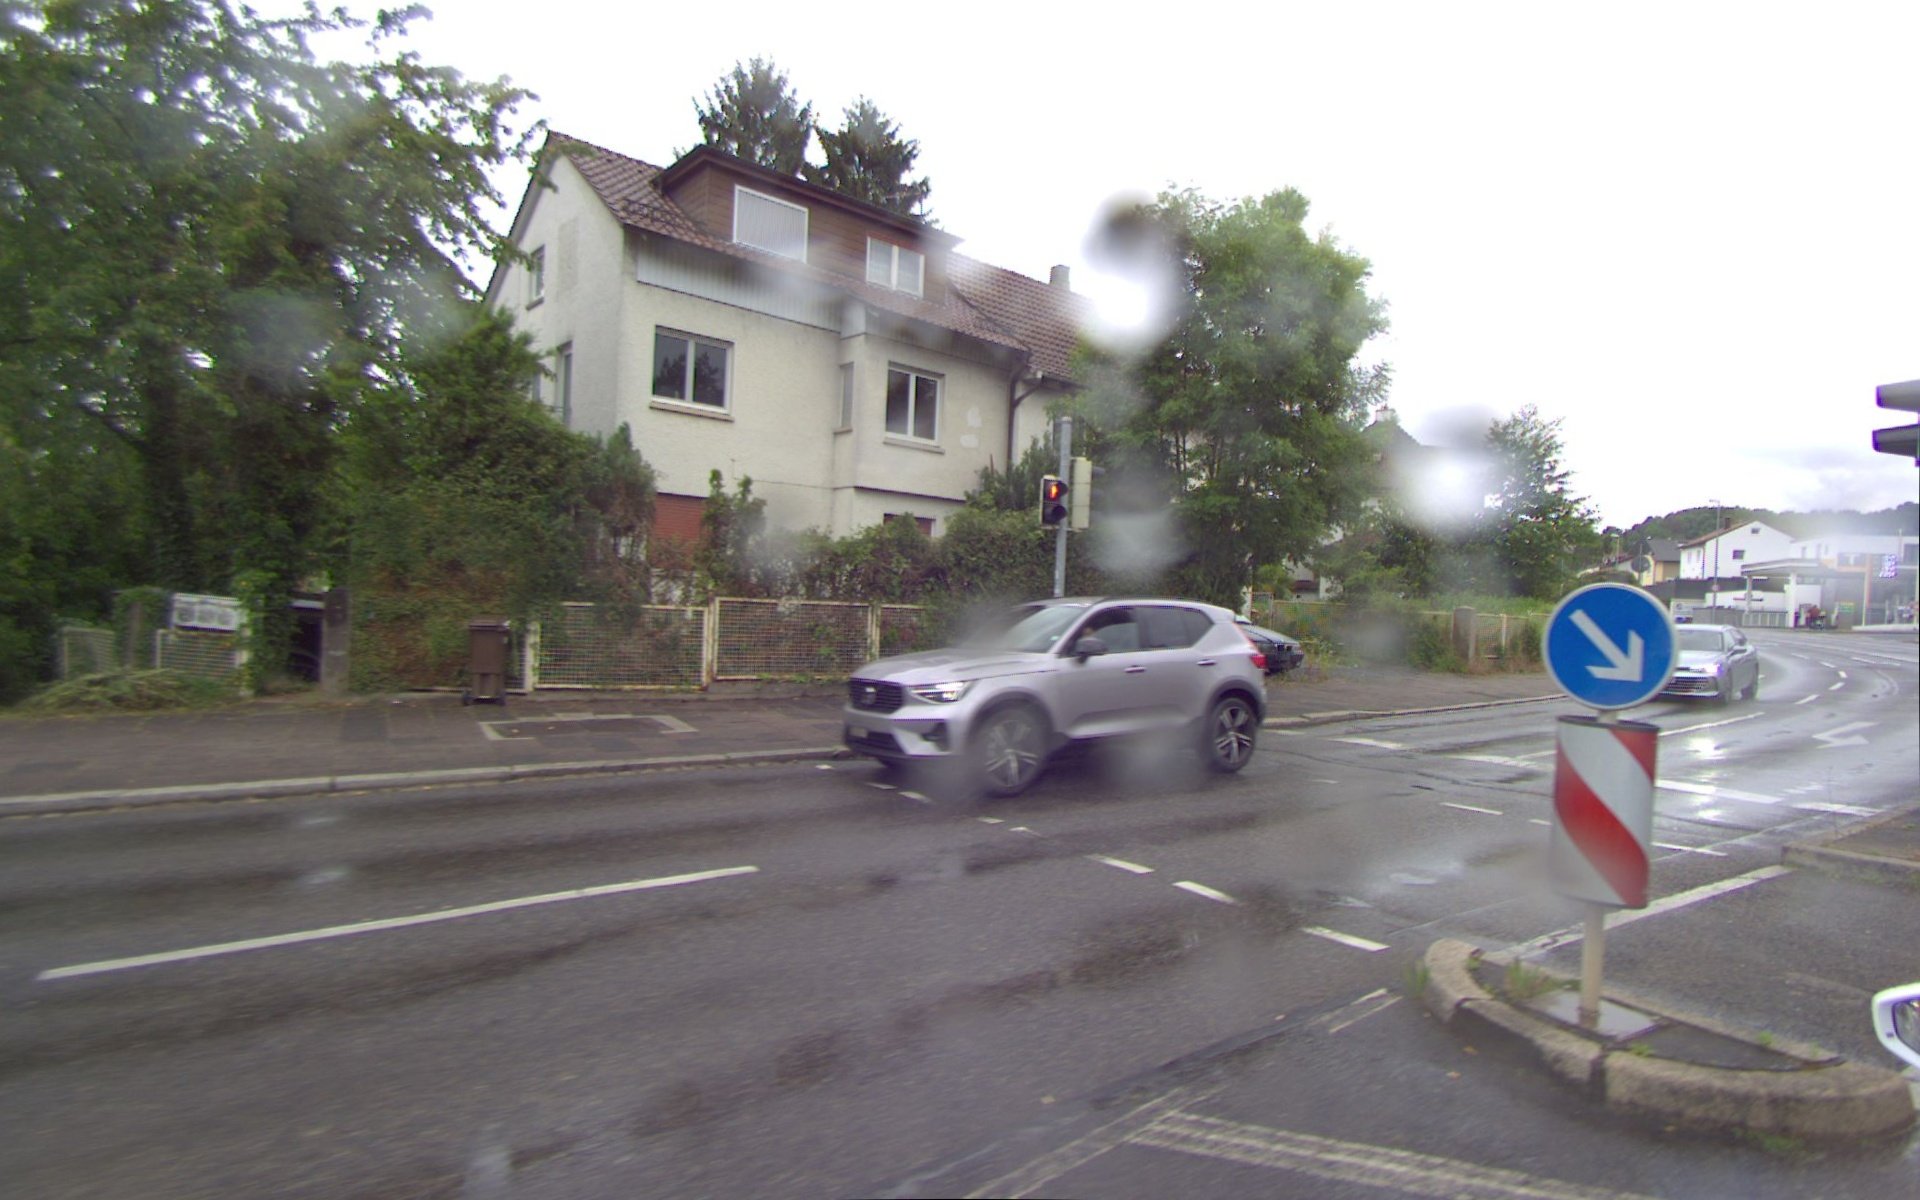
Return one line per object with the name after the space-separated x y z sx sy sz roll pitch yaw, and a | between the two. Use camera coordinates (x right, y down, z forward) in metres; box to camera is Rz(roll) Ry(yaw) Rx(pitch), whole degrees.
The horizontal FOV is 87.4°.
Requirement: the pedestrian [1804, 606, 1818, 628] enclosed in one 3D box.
64.919 1.282 76.634 0.600 1.678 0.585 2 0 27 | pedestrian

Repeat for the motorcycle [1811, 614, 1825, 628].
65.177 1.612 76.315 0.455 1.069 1.389 2 -1 27 | motorcycle

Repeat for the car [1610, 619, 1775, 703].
14.928 1.214 20.367 4.651 1.469 1.661 3 -1 -41 | car

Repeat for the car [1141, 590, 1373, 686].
5.833 0.683 20.045 1.919 1.413 3.949 1 4 -43 | car

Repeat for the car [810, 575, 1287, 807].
0.932 0.744 9.364 4.190 1.700 1.870 3 -1 -35 | car

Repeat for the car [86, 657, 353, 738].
-14.603 1.854 19.950 1.817 1.375 3.978 0 -3 43 | car
